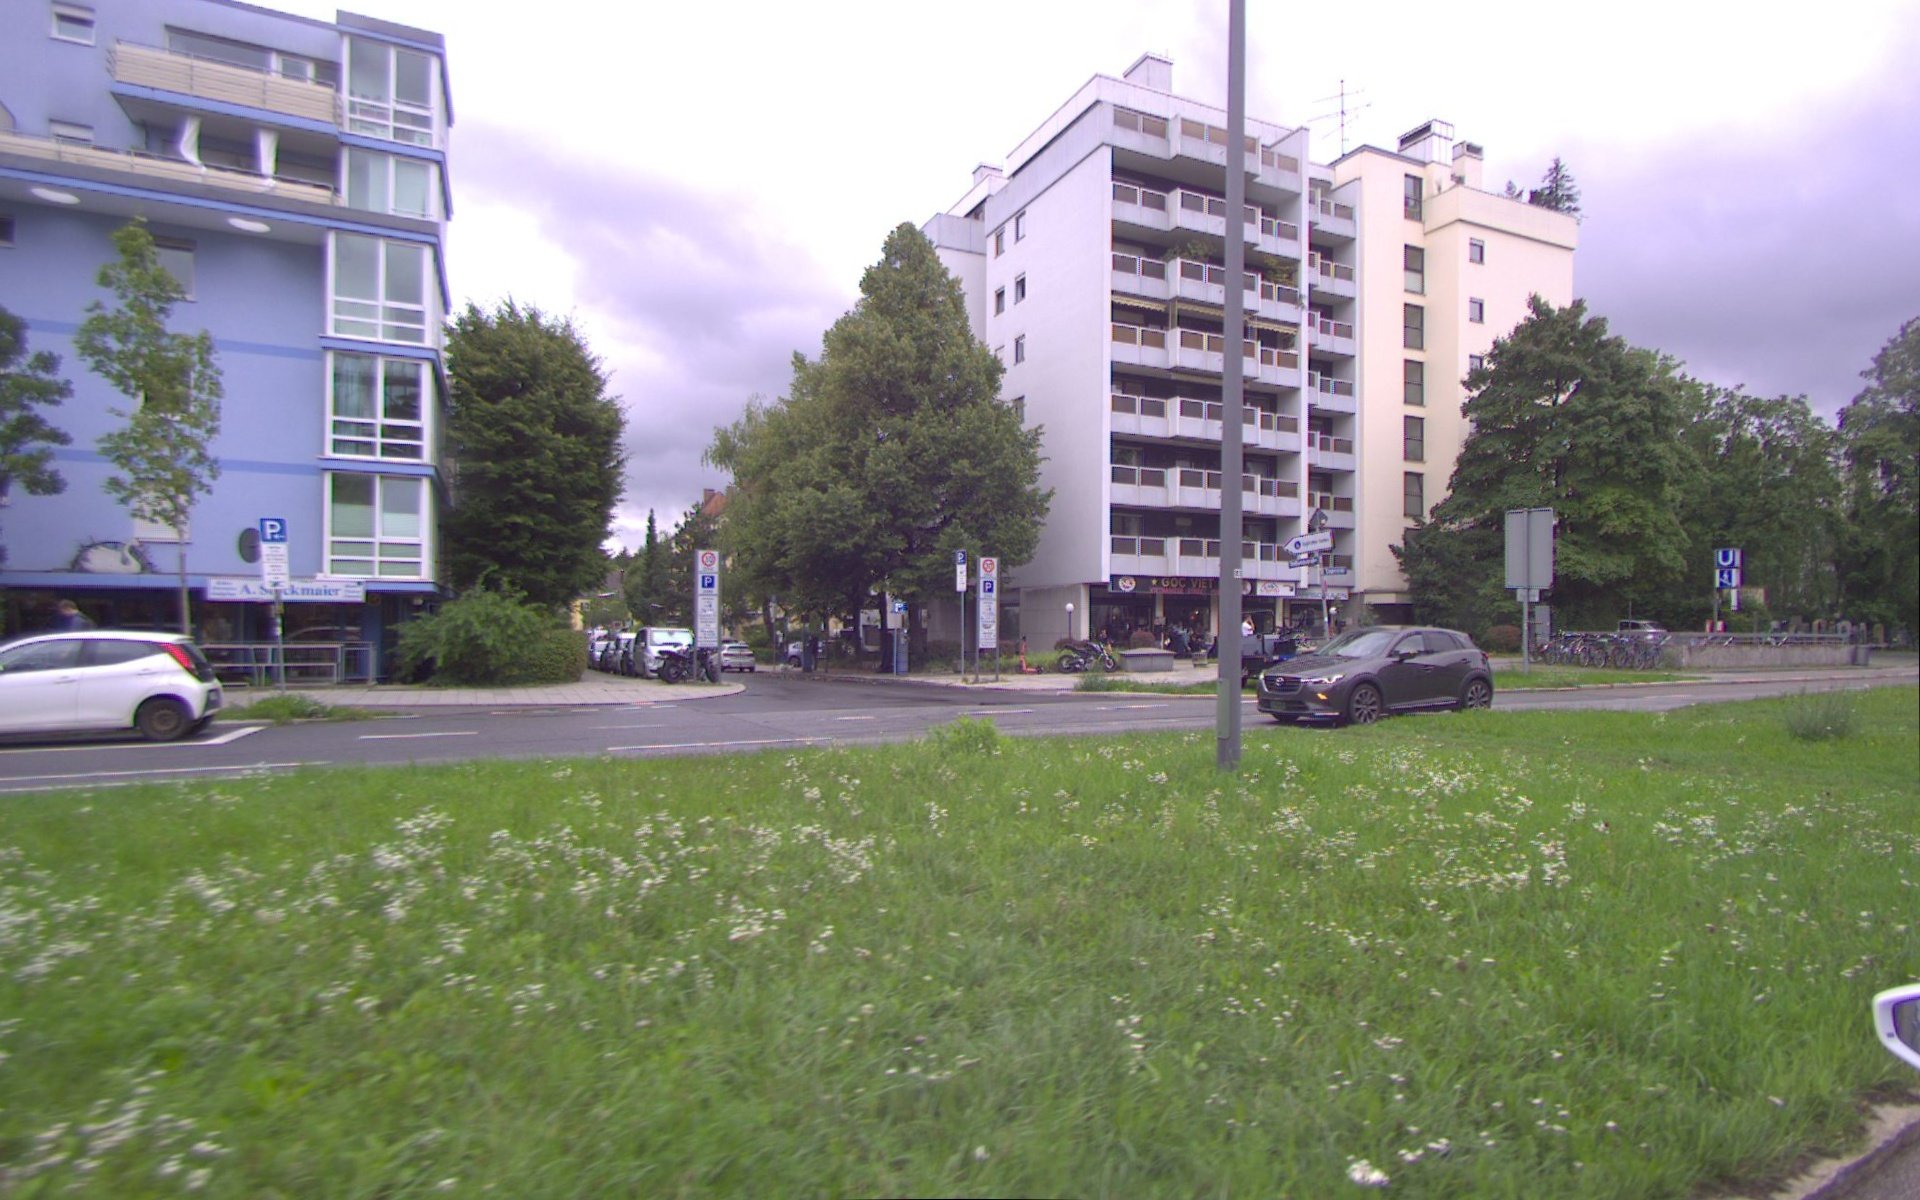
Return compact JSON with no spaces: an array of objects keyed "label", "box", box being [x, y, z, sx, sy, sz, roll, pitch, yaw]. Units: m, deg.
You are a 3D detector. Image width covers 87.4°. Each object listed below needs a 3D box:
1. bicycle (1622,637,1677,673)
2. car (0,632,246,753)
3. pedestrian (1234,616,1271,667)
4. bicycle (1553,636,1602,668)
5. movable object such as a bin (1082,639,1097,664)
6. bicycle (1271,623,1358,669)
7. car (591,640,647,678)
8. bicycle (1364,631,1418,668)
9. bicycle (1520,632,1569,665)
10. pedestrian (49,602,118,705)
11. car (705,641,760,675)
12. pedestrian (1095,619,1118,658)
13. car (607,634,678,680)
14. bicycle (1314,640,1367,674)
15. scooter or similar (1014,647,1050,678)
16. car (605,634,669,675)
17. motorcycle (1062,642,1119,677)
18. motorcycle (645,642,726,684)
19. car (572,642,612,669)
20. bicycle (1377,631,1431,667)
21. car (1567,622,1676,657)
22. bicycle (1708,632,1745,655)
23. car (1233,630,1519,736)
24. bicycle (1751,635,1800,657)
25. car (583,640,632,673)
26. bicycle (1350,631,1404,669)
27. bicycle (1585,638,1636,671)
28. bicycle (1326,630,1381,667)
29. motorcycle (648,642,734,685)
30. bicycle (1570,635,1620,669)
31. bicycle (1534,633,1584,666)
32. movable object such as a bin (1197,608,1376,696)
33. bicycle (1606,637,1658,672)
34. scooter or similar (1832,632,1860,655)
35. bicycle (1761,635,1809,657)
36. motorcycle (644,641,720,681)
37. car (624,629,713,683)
[{"label":"bicycle","box":[22.268,1.779,32.419,2.056,1.104,0.407,1,3,-25]},{"label":"car","box":[-12.063,1.185,13.467,3.854,1.509,1.640,1,-2,-29]},{"label":"pedestrian","box":[10.054,1.413,34.502,1.119,1.731,0.665,1,-1,-33]},{"label":"bicycle","box":[21.215,1.776,34.496,1.927,1.044,0.407,1,3,-25]},{"label":"movable object such as a bin","box":[5.312,2.106,41.221,0.531,0.978,0.370,1,-1,-34]},{"label":"bicycle","box":[12.268,1.556,34.935,0.776,1.300,3.319,1,3,-22]},{"label":"car","box":[-16.409,2.797,48.279,1.975,1.704,3.972,1,-2,-28]},{"label":"bicycle","box":[15.237,1.729,35.569,0.482,1.118,1.943,1,3,-22]},{"label":"bicycle","box":[20.629,1.689,35.424,1.927,1.112,0.407,1,3,-25]},{"label":"pedestrian","box":[-15.877,0.961,18.215,0.770,1.829,0.639,1,-2,-29]},{"label":"car","box":[-11.894,2.976,52.380,1.851,1.646,3.972,1,-2,-28]},{"label":"pedestrian","box":[6.017,1.586,41.298,0.659,1.606,0.655,1,-1,-28]},{"label":"car","box":[-12.670,2.227,39.958,1.975,1.704,4.232,1,-2,-28]},{"label":"bicycle","box":[13.137,1.943,34.730,0.552,1.118,1.944,1,-2,-23]},{"label":"scooter or similar","box":[2.312,2.006,32.360,1.135,0.971,0.441,-1,-2,42]},{"label":"car","box":[-14.200,2.342,44.060,1.975,1.704,4.232,1,-2,-28]},{"label":"motorcycle","box":[4.133,1.881,31.746,1.749,1.101,0.419,0,-1,-1]},{"label":"motorcycle","box":[-7.870,1.779,28.938,0.490,1.147,2.470,-1,-2,36]},{"label":"car","box":[-23.914,3.561,65.220,1.912,1.614,3.972,1,-2,-28]},{"label":"bicycle","box":[15.815,1.735,35.829,0.482,1.118,1.943,1,3,-22]},{"label":"car","box":[31.076,1.835,47.318,1.725,1.610,3.976,1,-2,-25]},{"label":"bicycle","box":[37.107,2.101,48.636,2.005,1.114,0.577,1,-1,-26]},{"label":"car","box":[6.642,1.234,16.015,4.202,1.499,1.951,1,-2,-26]},{"label":"bicycle","box":[38.450,2.165,47.371,0.431,1.020,1.756,1,-2,-26]},{"label":"car","box":[-19.413,3.070,55.221,1.975,1.704,3.972,1,-2,-28]},{"label":"bicycle","box":[14.660,1.739,35.351,0.482,1.118,1.943,1,3,-22]},{"label":"bicycle","box":[21.670,1.804,33.456,1.927,1.054,0.407,1,3,-25]},{"label":"bicycle","box":[13.680,1.673,34.951,0.552,1.118,1.943,1,3,-23]},{"label":"motorcycle","box":[-7.414,1.735,27.822,0.491,1.147,2.466,-1,-2,41]},{"label":"bicycle","box":[21.480,1.761,33.975,1.927,1.087,0.407,1,3,-25]},{"label":"bicycle","box":[20.857,1.712,34.961,1.927,1.119,0.407,1,3,-25]},{"label":"movable object such as a bin","box":[8.029,1.222,24.661,3.956,1.979,2.181,1,-2,-33]},{"label":"bicycle","box":[22.000,1.788,32.873,1.927,1.092,0.407,1,3,-25]},{"label":"scooter or similar","box":[44.925,2.211,50.932,1.268,1.141,0.435,1,-1,-14]},{"label":"bicycle","box":[39.651,2.199,48.279,0.431,1.020,1.756,1,-2,-26]},{"label":"motorcycle","box":[-8.374,1.826,30.396,0.490,1.147,2.471,-1,-2,34]},{"label":"car","box":[-9.990,1.830,34.158,1.975,1.704,5.083,1,-2,-27]}]
